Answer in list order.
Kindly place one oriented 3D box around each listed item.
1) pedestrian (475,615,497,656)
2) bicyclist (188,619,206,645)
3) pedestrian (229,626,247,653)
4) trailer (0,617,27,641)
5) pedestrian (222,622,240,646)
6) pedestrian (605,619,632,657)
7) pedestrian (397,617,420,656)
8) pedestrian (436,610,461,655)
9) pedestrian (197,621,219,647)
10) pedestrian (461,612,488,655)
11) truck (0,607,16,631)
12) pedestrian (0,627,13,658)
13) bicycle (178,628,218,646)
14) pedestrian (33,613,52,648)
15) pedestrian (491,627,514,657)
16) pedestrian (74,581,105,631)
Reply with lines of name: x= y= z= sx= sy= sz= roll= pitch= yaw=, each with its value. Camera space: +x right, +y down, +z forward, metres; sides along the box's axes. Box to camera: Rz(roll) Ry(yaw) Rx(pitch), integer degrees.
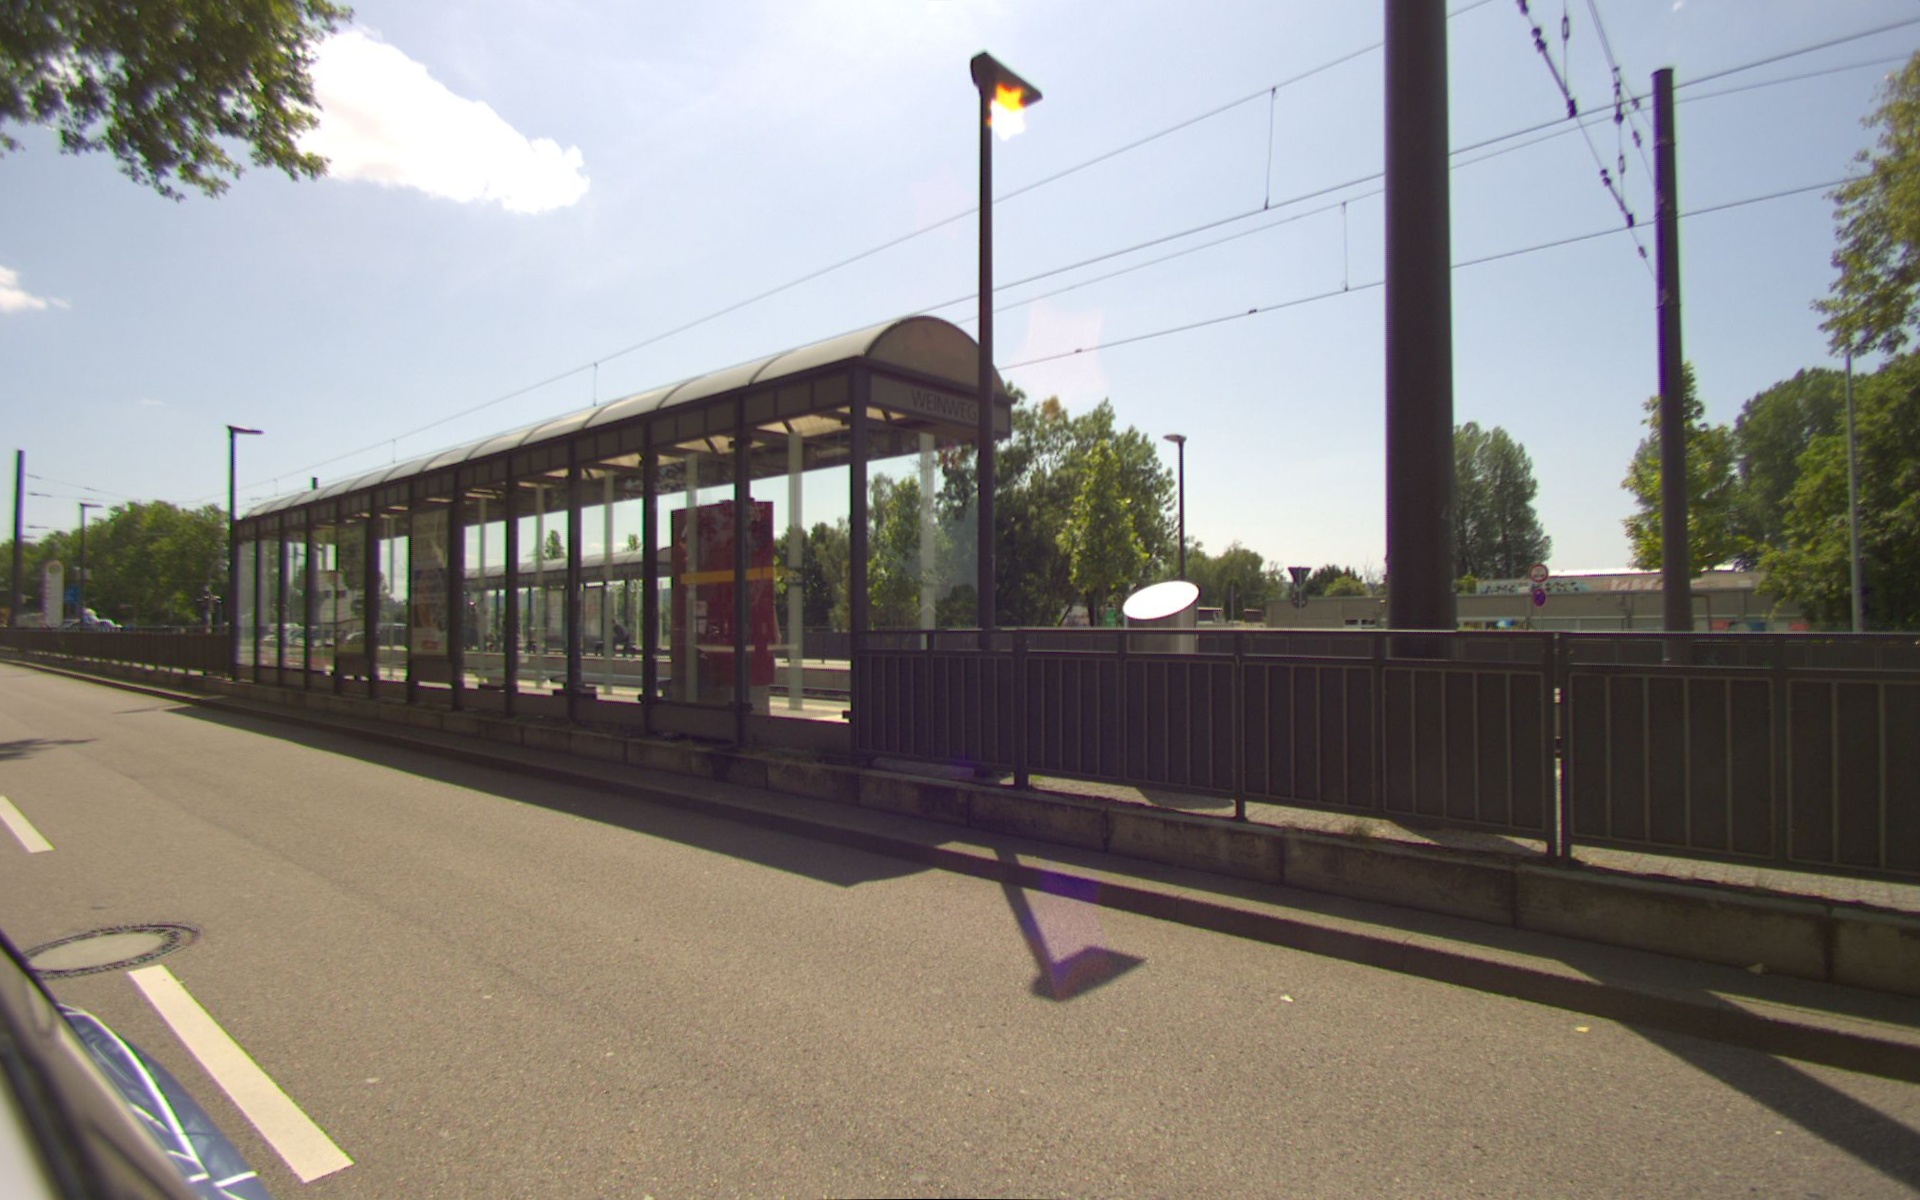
pedestrian: x=-18.039 y=1.342 z=38.501 sx=0.639 sy=1.545 sz=0.570 roll=-2 pitch=-2 yaw=42
bicyclist: x=-49.574 y=2.083 z=65.755 sx=0.729 sy=1.627 sz=0.660 roll=-1 pitch=-1 yaw=26
pedestrian: x=-45.879 y=2.489 z=64.295 sx=0.763 sy=1.685 sz=0.754 roll=-2 pitch=-2 yaw=39
trailer: x=-160.455 y=4.931 z=170.328 sx=15.472 sy=3.900 sz=3.083 roll=-1 pitch=-2 yaw=41
pedestrian: x=-46.943 y=2.200 z=65.155 sx=0.763 sy=1.560 sz=0.754 roll=-2 pitch=-2 yaw=39
pedestrian: x=-10.805 y=1.198 z=32.025 sx=0.639 sy=1.199 sz=0.570 roll=-2 pitch=-2 yaw=42
pedestrian: x=-23.682 y=1.557 z=43.455 sx=0.804 sy=1.650 sz=0.552 roll=-2 pitch=-2 yaw=35
pedestrian: x=-20.017 y=1.270 z=39.612 sx=0.726 sy=1.742 sz=0.579 roll=0 pitch=-2 yaw=-11
pedestrian: x=-48.343 y=2.166 z=65.051 sx=0.763 sy=1.622 sz=0.947 roll=-2 pitch=-2 yaw=39
pedestrian: x=-18.690 y=1.295 z=38.932 sx=0.814 sy=1.651 sz=0.579 roll=0 pitch=-2 yaw=-11
truck: x=-166.826 y=3.263 z=175.937 sx=7.469 sy=4.069 sz=3.094 roll=-2 pitch=-1 yaw=40
pedestrian: x=-52.012 y=2.318 z=54.948 sx=0.678 sy=1.685 sz=0.725 roll=-2 pitch=-2 yaw=39
bicycle: x=-49.514 y=2.420 z=65.803 sx=0.760 sy=1.109 sz=1.960 roll=-1 pitch=-1 yaw=26
pedestrian: x=-45.080 y=1.479 z=49.726 sx=0.719 sy=1.694 sz=0.607 roll=-2 pitch=-1 yaw=40
pedestrian: x=-16.772 y=1.536 z=37.088 sx=0.639 sy=1.103 sz=0.570 roll=-2 pitch=-2 yaw=42
pedestrian: x=-29.694 y=0.199 z=34.524 sx=0.742 sy=1.678 sz=0.725 roll=-2 pitch=-2 yaw=41
